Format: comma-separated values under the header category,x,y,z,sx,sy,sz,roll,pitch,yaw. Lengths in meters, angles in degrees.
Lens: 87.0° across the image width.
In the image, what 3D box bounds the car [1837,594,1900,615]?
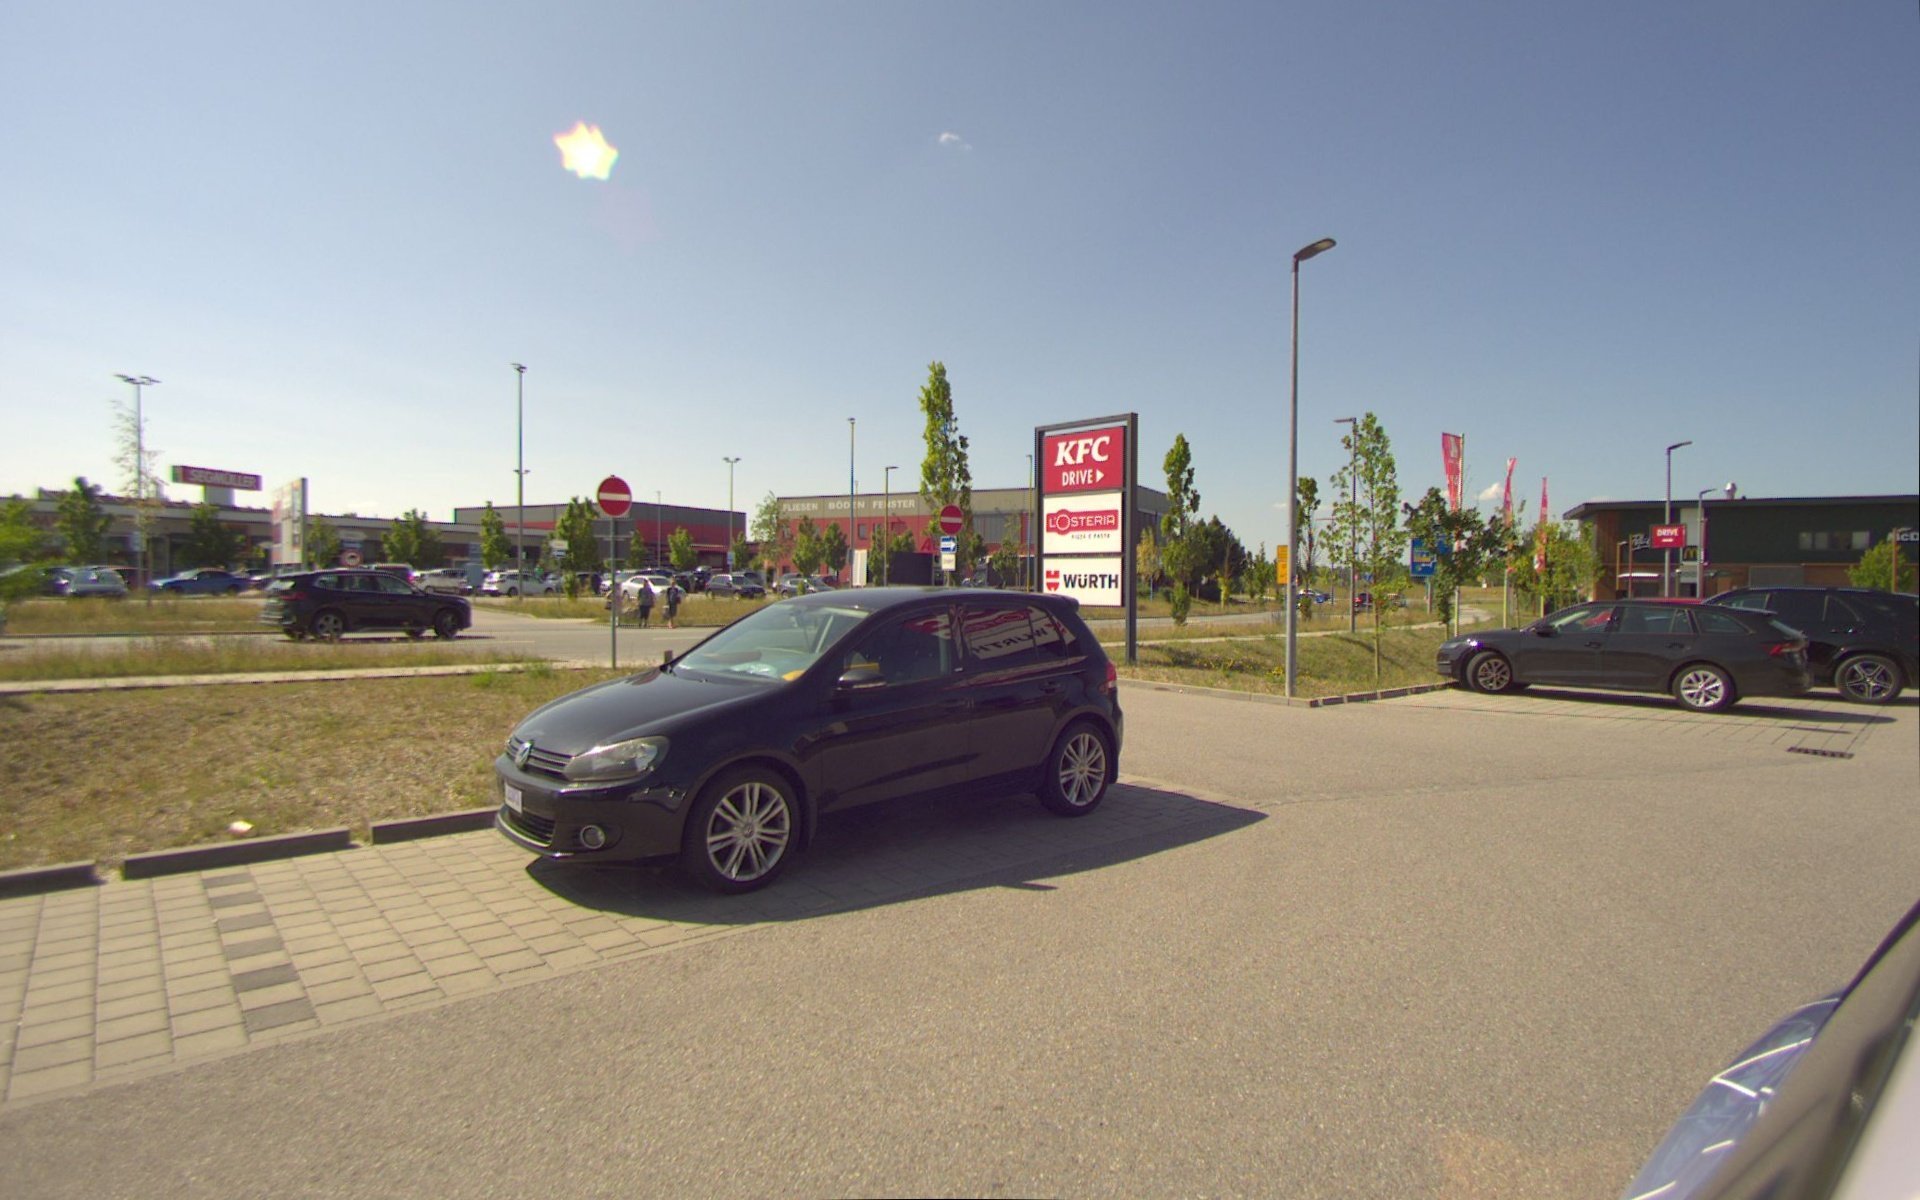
category,x,y,z,sx,sy,sz,roll,pitch,yaw
car,65.895,0.304,73.411,4.376,1.484,1.965,1,0,-28

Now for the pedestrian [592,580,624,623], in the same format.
category,x,y,z,sx,sy,sz,roll,pitch,yaw
pedestrian,-11.798,0.041,33.934,0.862,1.415,0.715,-1,0,43

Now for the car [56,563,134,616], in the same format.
category,x,y,z,sx,sy,sz,roll,pitch,yaw
car,-32.448,-0.411,37.911,1.967,1.869,4.721,1,0,-43

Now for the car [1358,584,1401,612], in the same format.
category,x,y,z,sx,sy,sz,roll,pitch,yaw
car,28.120,-0.142,67.764,1.985,1.755,4.705,1,0,32

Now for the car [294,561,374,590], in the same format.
category,x,y,z,sx,sy,sz,roll,pitch,yaw
car,-42.521,-1.645,68.855,1.934,1.879,4.370,1,0,23

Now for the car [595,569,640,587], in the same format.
category,x,y,z,sx,sy,sz,roll,pitch,yaw
car,-35.680,-2.276,105.500,1.935,1.879,4.366,1,0,25

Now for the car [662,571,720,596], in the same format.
category,x,y,z,sx,sy,sz,roll,pitch,yaw
car,-20.386,-1.241,76.819,1.935,1.879,4.366,1,0,25

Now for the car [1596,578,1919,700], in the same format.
category,x,y,z,sx,sy,sz,roll,pitch,yaw
car,13.286,0.556,16.608,4.574,1.783,1.866,0,0,44

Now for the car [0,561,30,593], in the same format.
category,x,y,z,sx,sy,sz,roll,pitch,yaw
car,-57.626,-1.372,59.206,1.935,1.879,4.366,1,0,25

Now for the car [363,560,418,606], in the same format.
category,x,y,z,sx,sy,sz,roll,pitch,yaw
car,-25.931,-0.757,46.190,1.840,1.979,4.903,1,0,-26

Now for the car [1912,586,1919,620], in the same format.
category,x,y,z,sx,sy,sz,roll,pitch,yaw
car,51.323,0.179,50.894,4.635,1.770,1.817,1,1,26

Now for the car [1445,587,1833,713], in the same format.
category,x,y,z,sx,sy,sz,roll,pitch,yaw
car,9.692,0.600,14.695,4.441,1.505,1.848,2,1,44

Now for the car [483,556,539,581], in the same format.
category,x,y,z,sx,sy,sz,roll,pitch,yaw
car,-38.276,-2.645,86.378,1.982,2.039,3.960,1,0,28

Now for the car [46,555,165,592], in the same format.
category,x,y,z,sx,sy,sz,roll,pitch,yaw
car,-46.091,-1.421,54.699,1.935,1.879,4.533,1,0,25

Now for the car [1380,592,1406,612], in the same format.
category,x,y,z,sx,sy,sz,roll,pitch,yaw
car,39.918,0.189,93.220,2.008,1.739,4.263,1,0,26

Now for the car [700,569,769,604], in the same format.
category,x,y,z,sx,sy,sz,roll,pitch,yaw
car,-12.704,-0.760,56.791,1.921,1.879,4.398,1,0,-40

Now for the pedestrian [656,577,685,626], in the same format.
category,x,y,z,sx,sy,sz,roll,pitch,yaw
pedestrian,-9.842,0.048,34.389,0.743,1.620,0.692,1,0,-38

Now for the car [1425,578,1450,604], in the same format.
category,x,y,z,sx,sy,sz,roll,pitch,yaw
car,43.618,-0.806,92.329,1.980,2.225,5.059,1,0,26

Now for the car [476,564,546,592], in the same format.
category,x,y,z,sx,sy,sz,roll,pitch,yaw
car,-31.600,-1.502,71.337,1.935,1.879,4.366,1,0,25

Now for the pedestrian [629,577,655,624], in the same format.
category,x,y,z,sx,sy,sz,roll,pitch,yaw
pedestrian,-10.701,0.018,34.049,0.655,1.576,0.625,1,0,-38

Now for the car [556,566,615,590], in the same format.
category,x,y,z,sx,sy,sz,roll,pitch,yaw
car,-30.147,-1.741,81.606,1.935,1.879,4.366,1,0,25

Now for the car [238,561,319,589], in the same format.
category,x,y,z,sx,sy,sz,roll,pitch,yaw
car,-47.719,-1.727,70.935,1.934,1.879,4.370,1,0,23

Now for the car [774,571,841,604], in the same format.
category,x,y,z,sx,sy,sz,roll,pitch,yaw
car,-9.121,-0.741,60.471,1.921,1.879,4.398,1,0,-40

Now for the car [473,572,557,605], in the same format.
category,x,y,z,sx,sy,sz,roll,pitch,yaw
car,-26.362,-0.695,60.067,1.935,1.879,4.366,1,0,25

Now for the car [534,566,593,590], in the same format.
category,x,y,z,sx,sy,sz,roll,pitch,yaw
car,-32.359,-1.777,82.704,1.935,1.879,4.366,1,0,25

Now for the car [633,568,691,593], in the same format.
category,x,y,z,sx,sy,sz,roll,pitch,yaw
car,-22.977,-1.466,78.253,1.935,1.879,4.366,1,0,25

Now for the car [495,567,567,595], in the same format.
category,x,y,z,sx,sy,sz,roll,pitch,yaw
car,-29.639,-1.308,70.044,1.935,1.879,4.366,1,0,25

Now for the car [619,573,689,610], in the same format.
category,x,y,z,sx,sy,sz,roll,pitch,yaw
car,-16.052,-0.440,53.012,1.965,1.879,4.280,1,0,-40

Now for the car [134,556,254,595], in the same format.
category,x,y,z,sx,sy,sz,roll,pitch,yaw
car,-38.903,-1.217,51.521,1.935,1.879,4.533,1,0,25

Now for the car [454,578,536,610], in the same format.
category,x,y,z,sx,sy,sz,roll,pitch,yaw
car,-28.356,-0.345,61.888,1.935,1.879,4.366,1,0,25

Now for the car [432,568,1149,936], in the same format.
category,x,y,z,sx,sy,sz,roll,pitch,yaw
car,-0.799,0.605,6.280,4.051,1.495,1.838,0,2,-44

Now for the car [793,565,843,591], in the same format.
category,x,y,z,sx,sy,sz,roll,pitch,yaw
car,-10.997,-1.695,78.631,1.851,1.879,4.230,1,0,25

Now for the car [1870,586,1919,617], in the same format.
category,x,y,z,sx,sy,sz,roll,pitch,yaw
car,52.035,0.075,55.714,4.126,1.675,1.976,0,0,-35

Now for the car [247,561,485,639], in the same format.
category,x,y,z,sx,sy,sz,roll,pitch,yaw
car,-14.046,-0.009,24.184,1.867,1.685,4.544,1,0,36

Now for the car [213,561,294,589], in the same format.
category,x,y,z,sx,sy,sz,roll,pitch,yaw
car,-50.140,-1.765,71.895,1.934,1.879,4.370,1,0,23

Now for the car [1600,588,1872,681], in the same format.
category,x,y,z,sx,sy,sz,roll,pitch,yaw
car,15.021,0.602,19.763,4.063,1.629,1.868,0,0,41

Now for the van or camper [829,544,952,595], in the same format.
category,x,y,z,sx,sy,sz,roll,pitch,yaw
van or camper,-4.556,-1.940,66.984,7.895,3.141,2.421,1,0,-31

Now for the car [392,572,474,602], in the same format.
category,x,y,z,sx,sy,sz,roll,pitch,yaw
car,-33.299,-0.811,64.092,1.935,1.879,4.366,1,0,25

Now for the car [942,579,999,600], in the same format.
category,x,y,z,sx,sy,sz,roll,pitch,yaw
car,0.761,-0.782,74.687,3.934,1.478,1.637,1,0,31

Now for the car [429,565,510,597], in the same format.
category,x,y,z,sx,sy,sz,roll,pitch,yaw
car,-30.595,-1.161,63.270,1.935,1.879,4.366,1,0,25

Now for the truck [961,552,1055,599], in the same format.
category,x,y,z,sx,sy,sz,roll,pitch,yaw
truck,3.689,-1.890,78.309,6.778,3.524,2.737,1,0,32
